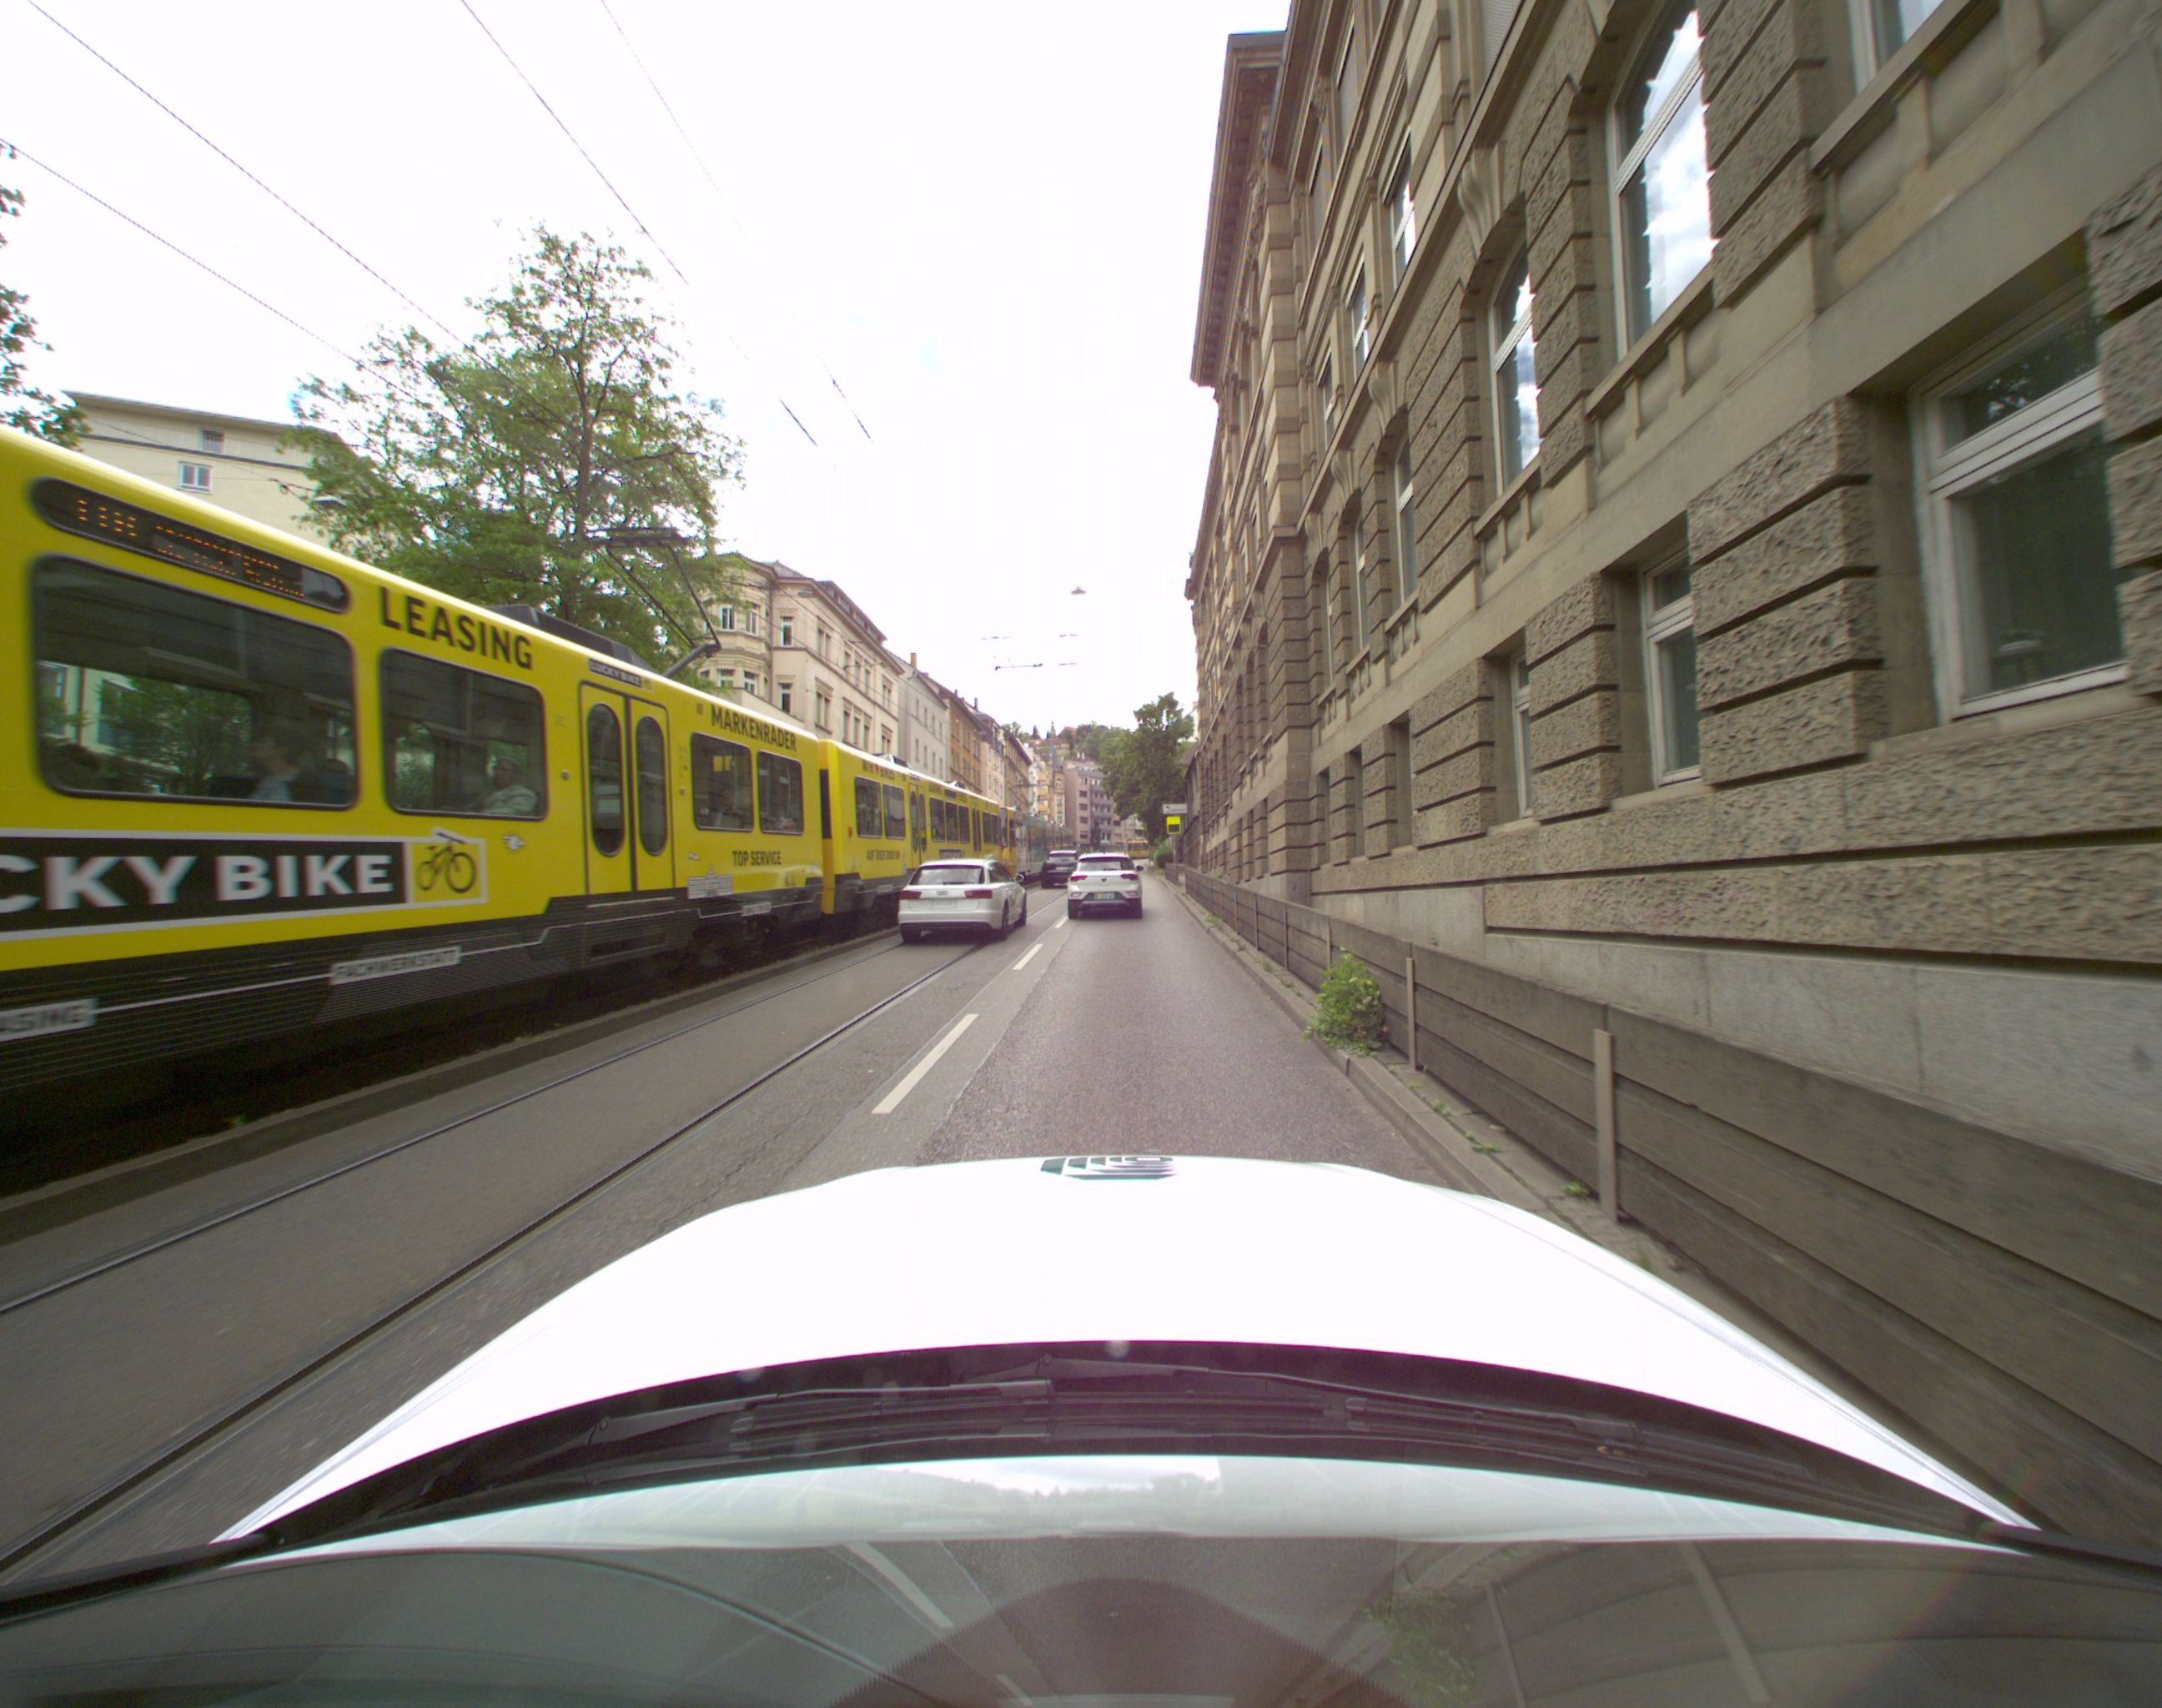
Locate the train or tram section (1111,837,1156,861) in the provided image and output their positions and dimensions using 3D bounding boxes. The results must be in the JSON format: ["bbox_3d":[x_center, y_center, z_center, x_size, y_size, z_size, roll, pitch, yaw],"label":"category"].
[{"bbox_3d":[10.135,-0.908,152.962,2.991,4.213,18.955,-1,0,20],"label":"train or tram section"}]

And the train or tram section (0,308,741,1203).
[{"bbox_3d":[-5.976,-0.417,2.615,2.871,3.725,14.866,1,0,3],"label":"train or tram section"}]

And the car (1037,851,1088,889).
[{"bbox_3d":[-0.771,0.667,36.929,2.030,1.571,4.361,-1,0,2],"label":"car"}]

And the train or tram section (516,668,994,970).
[{"bbox_3d":[-5.067,-0.457,19.468,2.864,3.725,18.719,1,0,3],"label":"train or tram section"}]

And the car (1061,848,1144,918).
[{"bbox_3d":[0.623,0.658,20.585,1.871,1.554,4.004,-1,0,4],"label":"car"}]

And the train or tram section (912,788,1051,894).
[{"bbox_3d":[-3.858,-0.477,38.185,2.863,3.725,18.777,1,0,4],"label":"train or tram section"}]

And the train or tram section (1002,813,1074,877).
[{"bbox_3d":[-2.594,-0.525,56.933,2.864,3.725,18.774,1,0,4],"label":"train or tram section"}]

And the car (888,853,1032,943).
[{"bbox_3d":[-2.134,0.734,15.715,1.871,1.455,4.620,-1,0,3],"label":"car"}]
